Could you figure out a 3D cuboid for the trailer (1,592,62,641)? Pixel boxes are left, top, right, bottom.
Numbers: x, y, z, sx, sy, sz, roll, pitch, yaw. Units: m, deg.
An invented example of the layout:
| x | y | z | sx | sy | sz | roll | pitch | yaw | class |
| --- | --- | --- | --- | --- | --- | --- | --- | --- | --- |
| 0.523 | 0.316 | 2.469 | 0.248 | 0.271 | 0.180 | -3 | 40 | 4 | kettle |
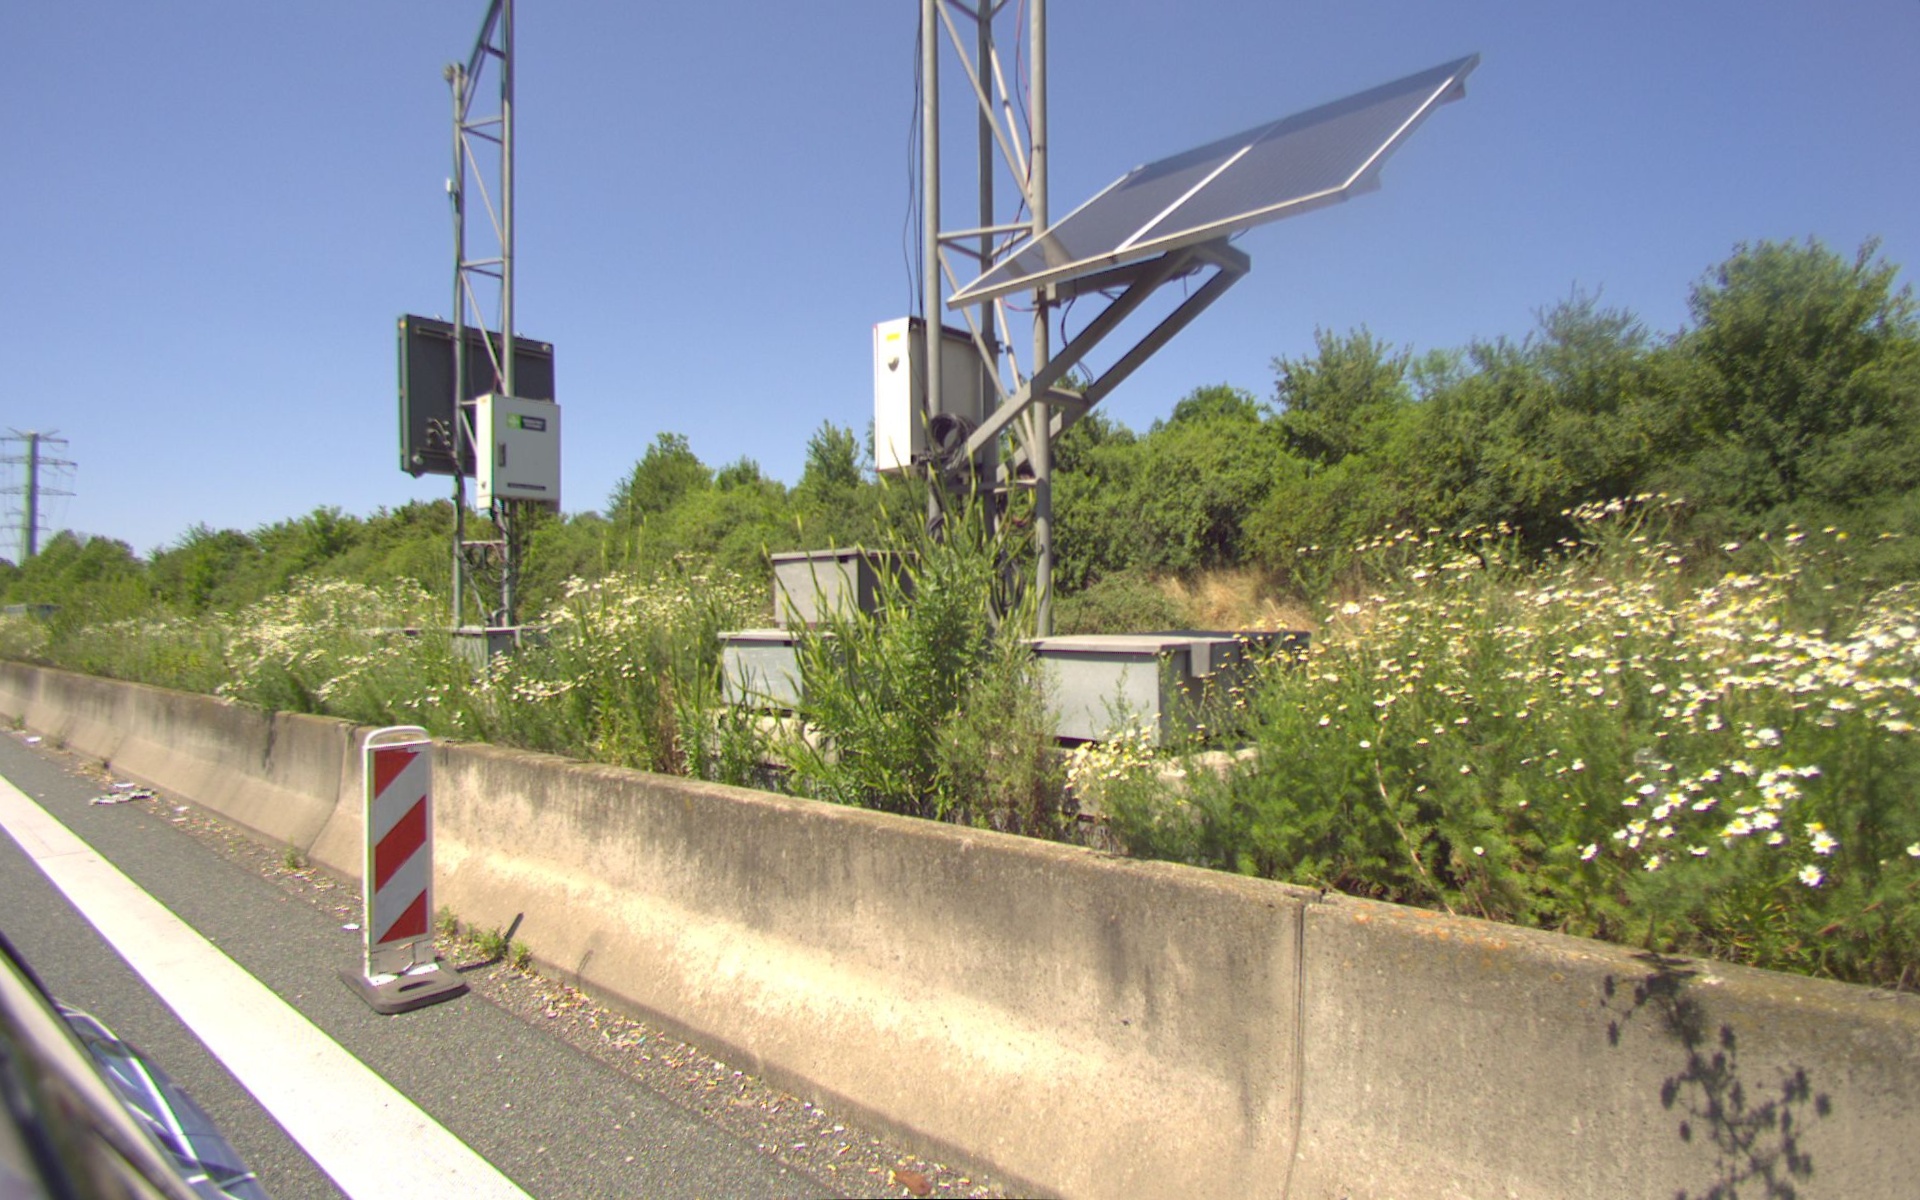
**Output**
| x | y | z | sx | sy | sz | roll | pitch | yaw | class |
| --- | --- | --- | --- | --- | --- | --- | --- | --- | --- |
| -89.451 | 1.565 | 97.414 | 12.900 | 4.437 | 2.929 | -1 | 0 | 41 | trailer |
